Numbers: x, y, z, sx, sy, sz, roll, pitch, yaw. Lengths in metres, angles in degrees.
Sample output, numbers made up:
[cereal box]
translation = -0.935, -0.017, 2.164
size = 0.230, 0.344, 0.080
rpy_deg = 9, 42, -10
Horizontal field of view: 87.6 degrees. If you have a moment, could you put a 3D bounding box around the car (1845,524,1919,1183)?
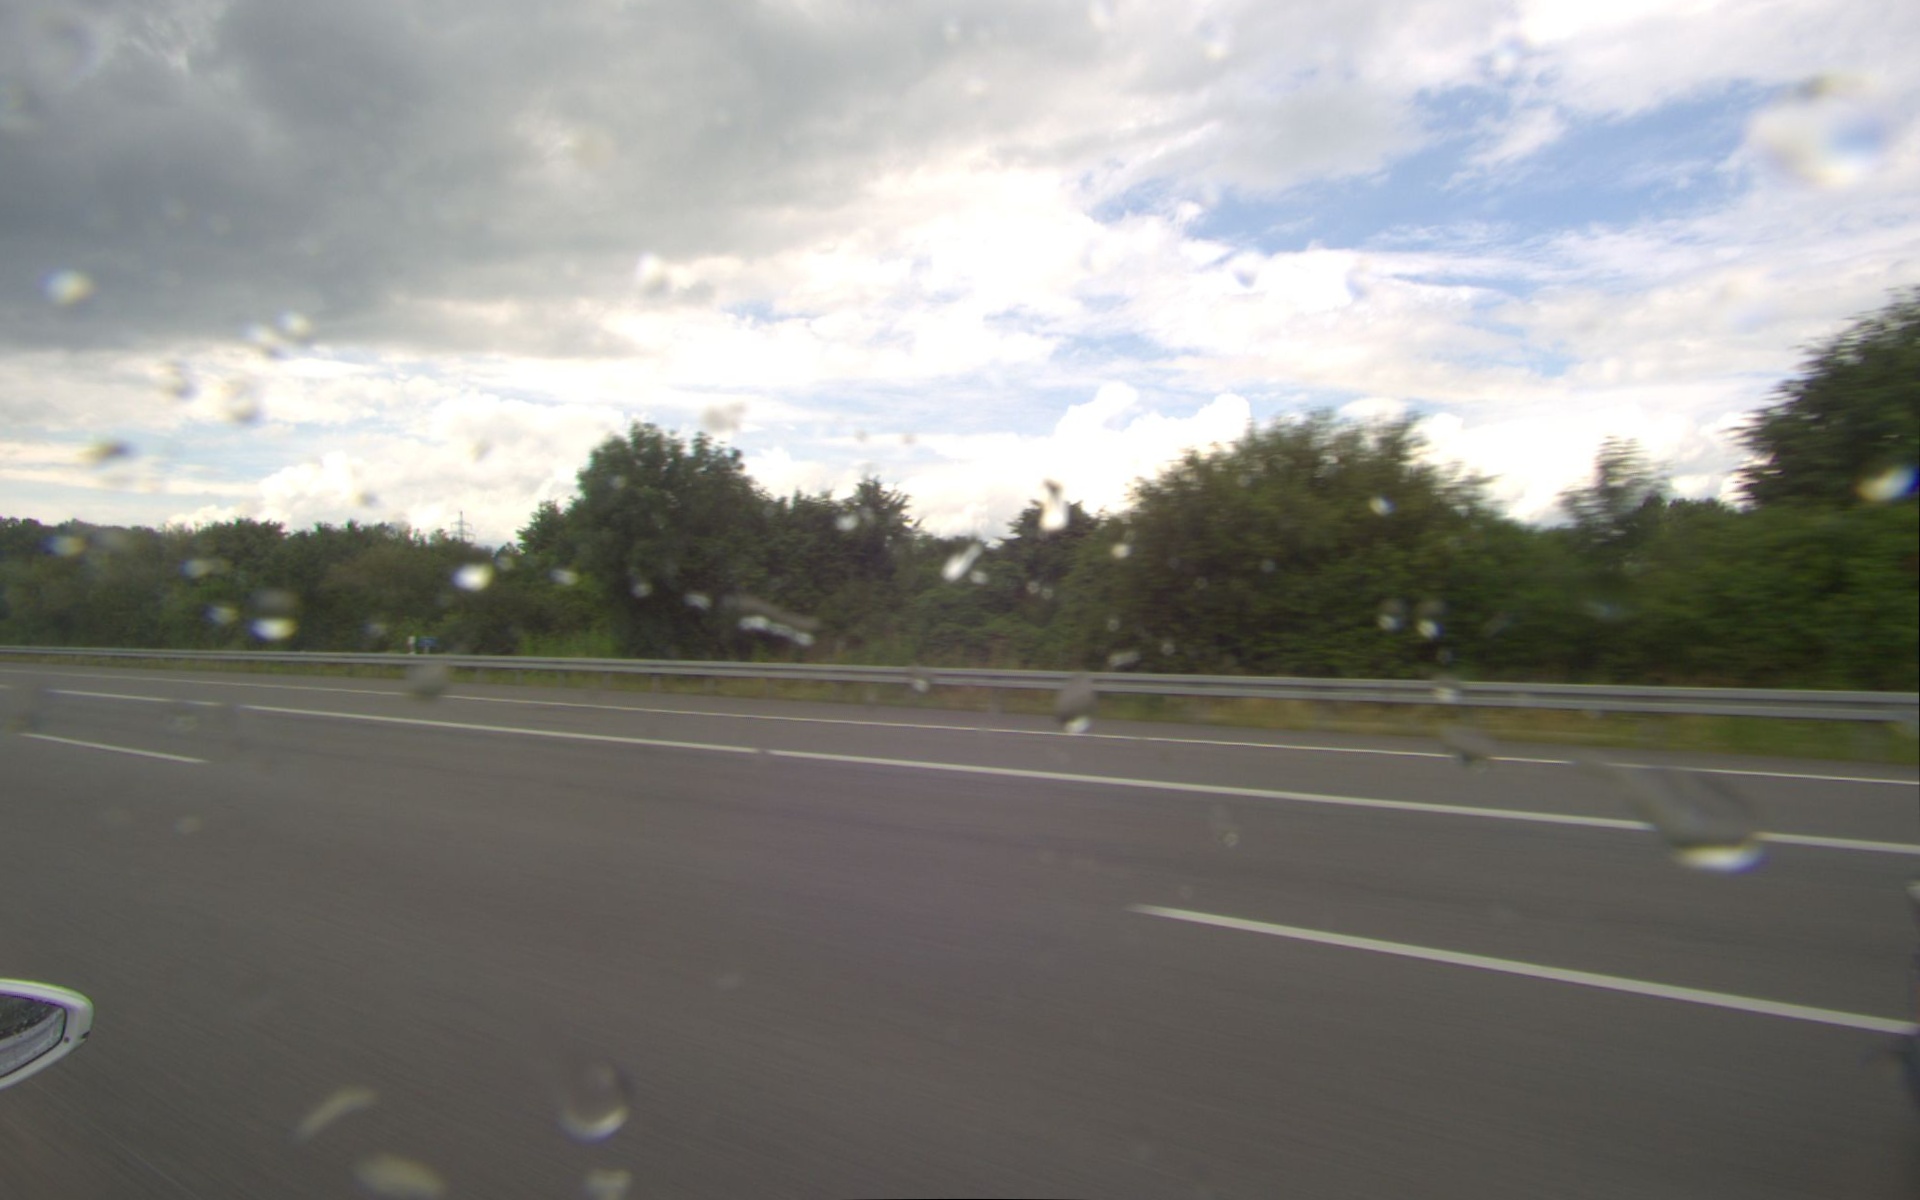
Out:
[car]
translation = 4.216, 0.598, 1.142
size = 4.531, 1.634, 1.778
rpy_deg = -1, -1, 32
